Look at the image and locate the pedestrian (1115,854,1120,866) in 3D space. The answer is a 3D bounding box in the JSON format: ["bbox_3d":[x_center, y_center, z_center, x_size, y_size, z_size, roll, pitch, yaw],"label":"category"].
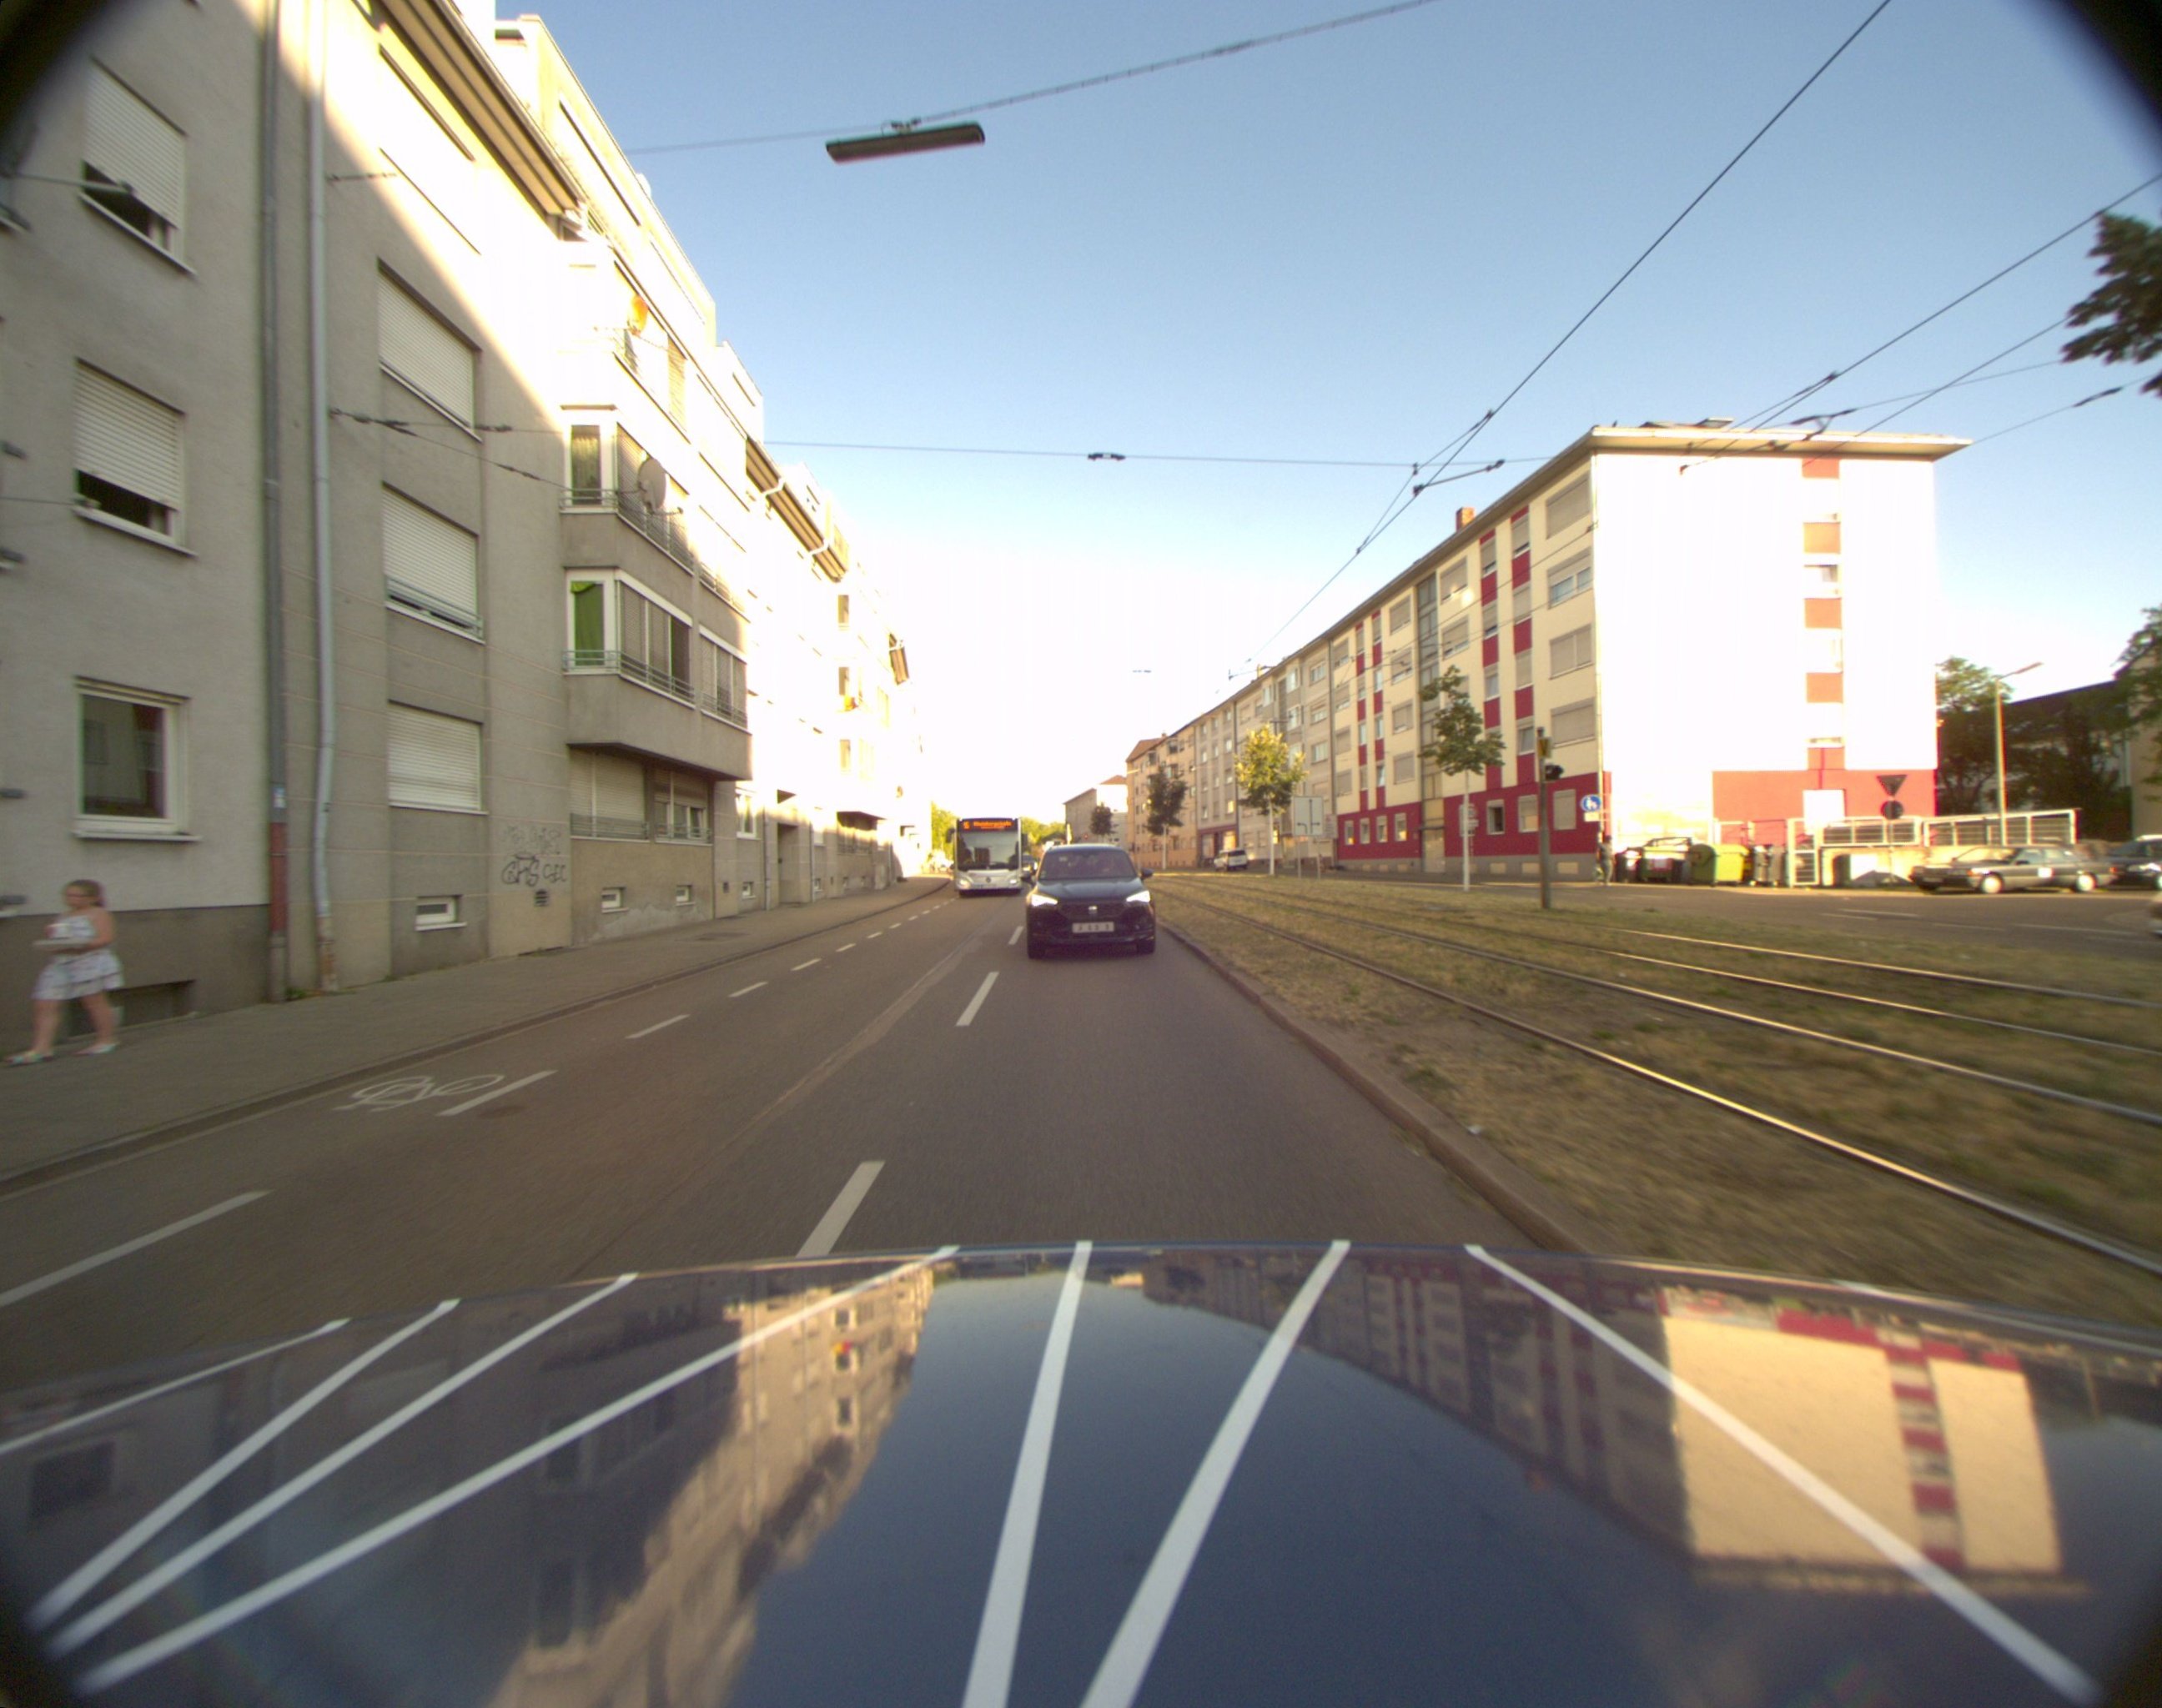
[{"bbox_3d":[5.722,0.937,118.455,0.634,1.760,0.825,-1,0,13],"label":"pedestrian"}]

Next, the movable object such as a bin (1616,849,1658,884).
[{"bbox_3d":[19.541,0.425,26.730,0.868,1.219,0.806,-1,1,-4],"label":"movable object such as a bin"}]

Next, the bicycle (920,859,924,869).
[{"bbox_3d":[-16.285,1.014,77.806,0.279,0.965,1.728,2,-1,-11],"label":"bicycle"}]

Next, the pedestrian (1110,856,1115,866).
[{"bbox_3d":[4.862,1.070,118.701,0.625,1.481,0.582,-1,1,-11],"label":"pedestrian"}]

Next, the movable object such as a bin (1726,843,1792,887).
[{"bbox_3d":[22.535,0.358,25.275,1.220,1.407,1.107,-1,1,-4],"label":"movable object such as a bin"}]

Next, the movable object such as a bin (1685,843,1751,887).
[{"bbox_3d":[21.087,0.351,25.177,1.220,1.407,1.138,-1,1,-4],"label":"movable object such as a bin"}]

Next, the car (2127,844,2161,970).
[{"bbox_3d":[13.549,0.662,6.744,1.798,1.460,4.794,1,1,-2],"label":"car"}]

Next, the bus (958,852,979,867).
[{"bbox_3d":[-23.134,1.191,155.753,3.878,2.835,13.816,-2,0,-10],"label":"bus"}]

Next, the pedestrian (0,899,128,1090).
[{"bbox_3d":[-7.900,1.034,5.777,0.515,1.337,0.609,0,1,-4],"label":"pedestrian"}]

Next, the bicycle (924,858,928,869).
[{"bbox_3d":[-15.967,0.980,78.147,0.361,1.026,1.728,2,-1,-11],"label":"bicycle"}]

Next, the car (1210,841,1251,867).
[{"bbox_3d":[12.467,0.024,63.528,1.872,1.818,4.419,-7,1,-8],"label":"car"}]

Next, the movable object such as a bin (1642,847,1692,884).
[{"bbox_3d":[20.648,0.401,26.800,1.161,1.278,0.806,-1,1,-4],"label":"movable object such as a bin"}]

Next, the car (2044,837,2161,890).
[{"bbox_3d":[31.806,0.255,22.591,3.997,1.499,1.899,-1,0,-1],"label":"car"}]

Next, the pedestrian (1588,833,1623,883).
[{"bbox_3d":[18.047,0.133,26.147,0.615,1.679,0.791,-1,0,-5],"label":"pedestrian"}]

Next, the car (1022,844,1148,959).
[{"bbox_3d":[0.072,0.716,13.284,1.788,1.614,4.217,-2,-1,0],"label":"car"}]

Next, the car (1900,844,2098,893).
[{"bbox_3d":[26.634,0.411,22.122,3.873,1.286,1.701,-1,0,-3],"label":"car"}]

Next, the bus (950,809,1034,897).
[{"bbox_3d":[-3.512,0.005,32.572,2.732,3.059,10.598,-2,0,-3],"label":"bus"}]

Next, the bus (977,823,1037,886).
[{"bbox_3d":[-3.985,0.066,43.174,2.713,3.059,10.598,-2,0,-3],"label":"bus"}]
